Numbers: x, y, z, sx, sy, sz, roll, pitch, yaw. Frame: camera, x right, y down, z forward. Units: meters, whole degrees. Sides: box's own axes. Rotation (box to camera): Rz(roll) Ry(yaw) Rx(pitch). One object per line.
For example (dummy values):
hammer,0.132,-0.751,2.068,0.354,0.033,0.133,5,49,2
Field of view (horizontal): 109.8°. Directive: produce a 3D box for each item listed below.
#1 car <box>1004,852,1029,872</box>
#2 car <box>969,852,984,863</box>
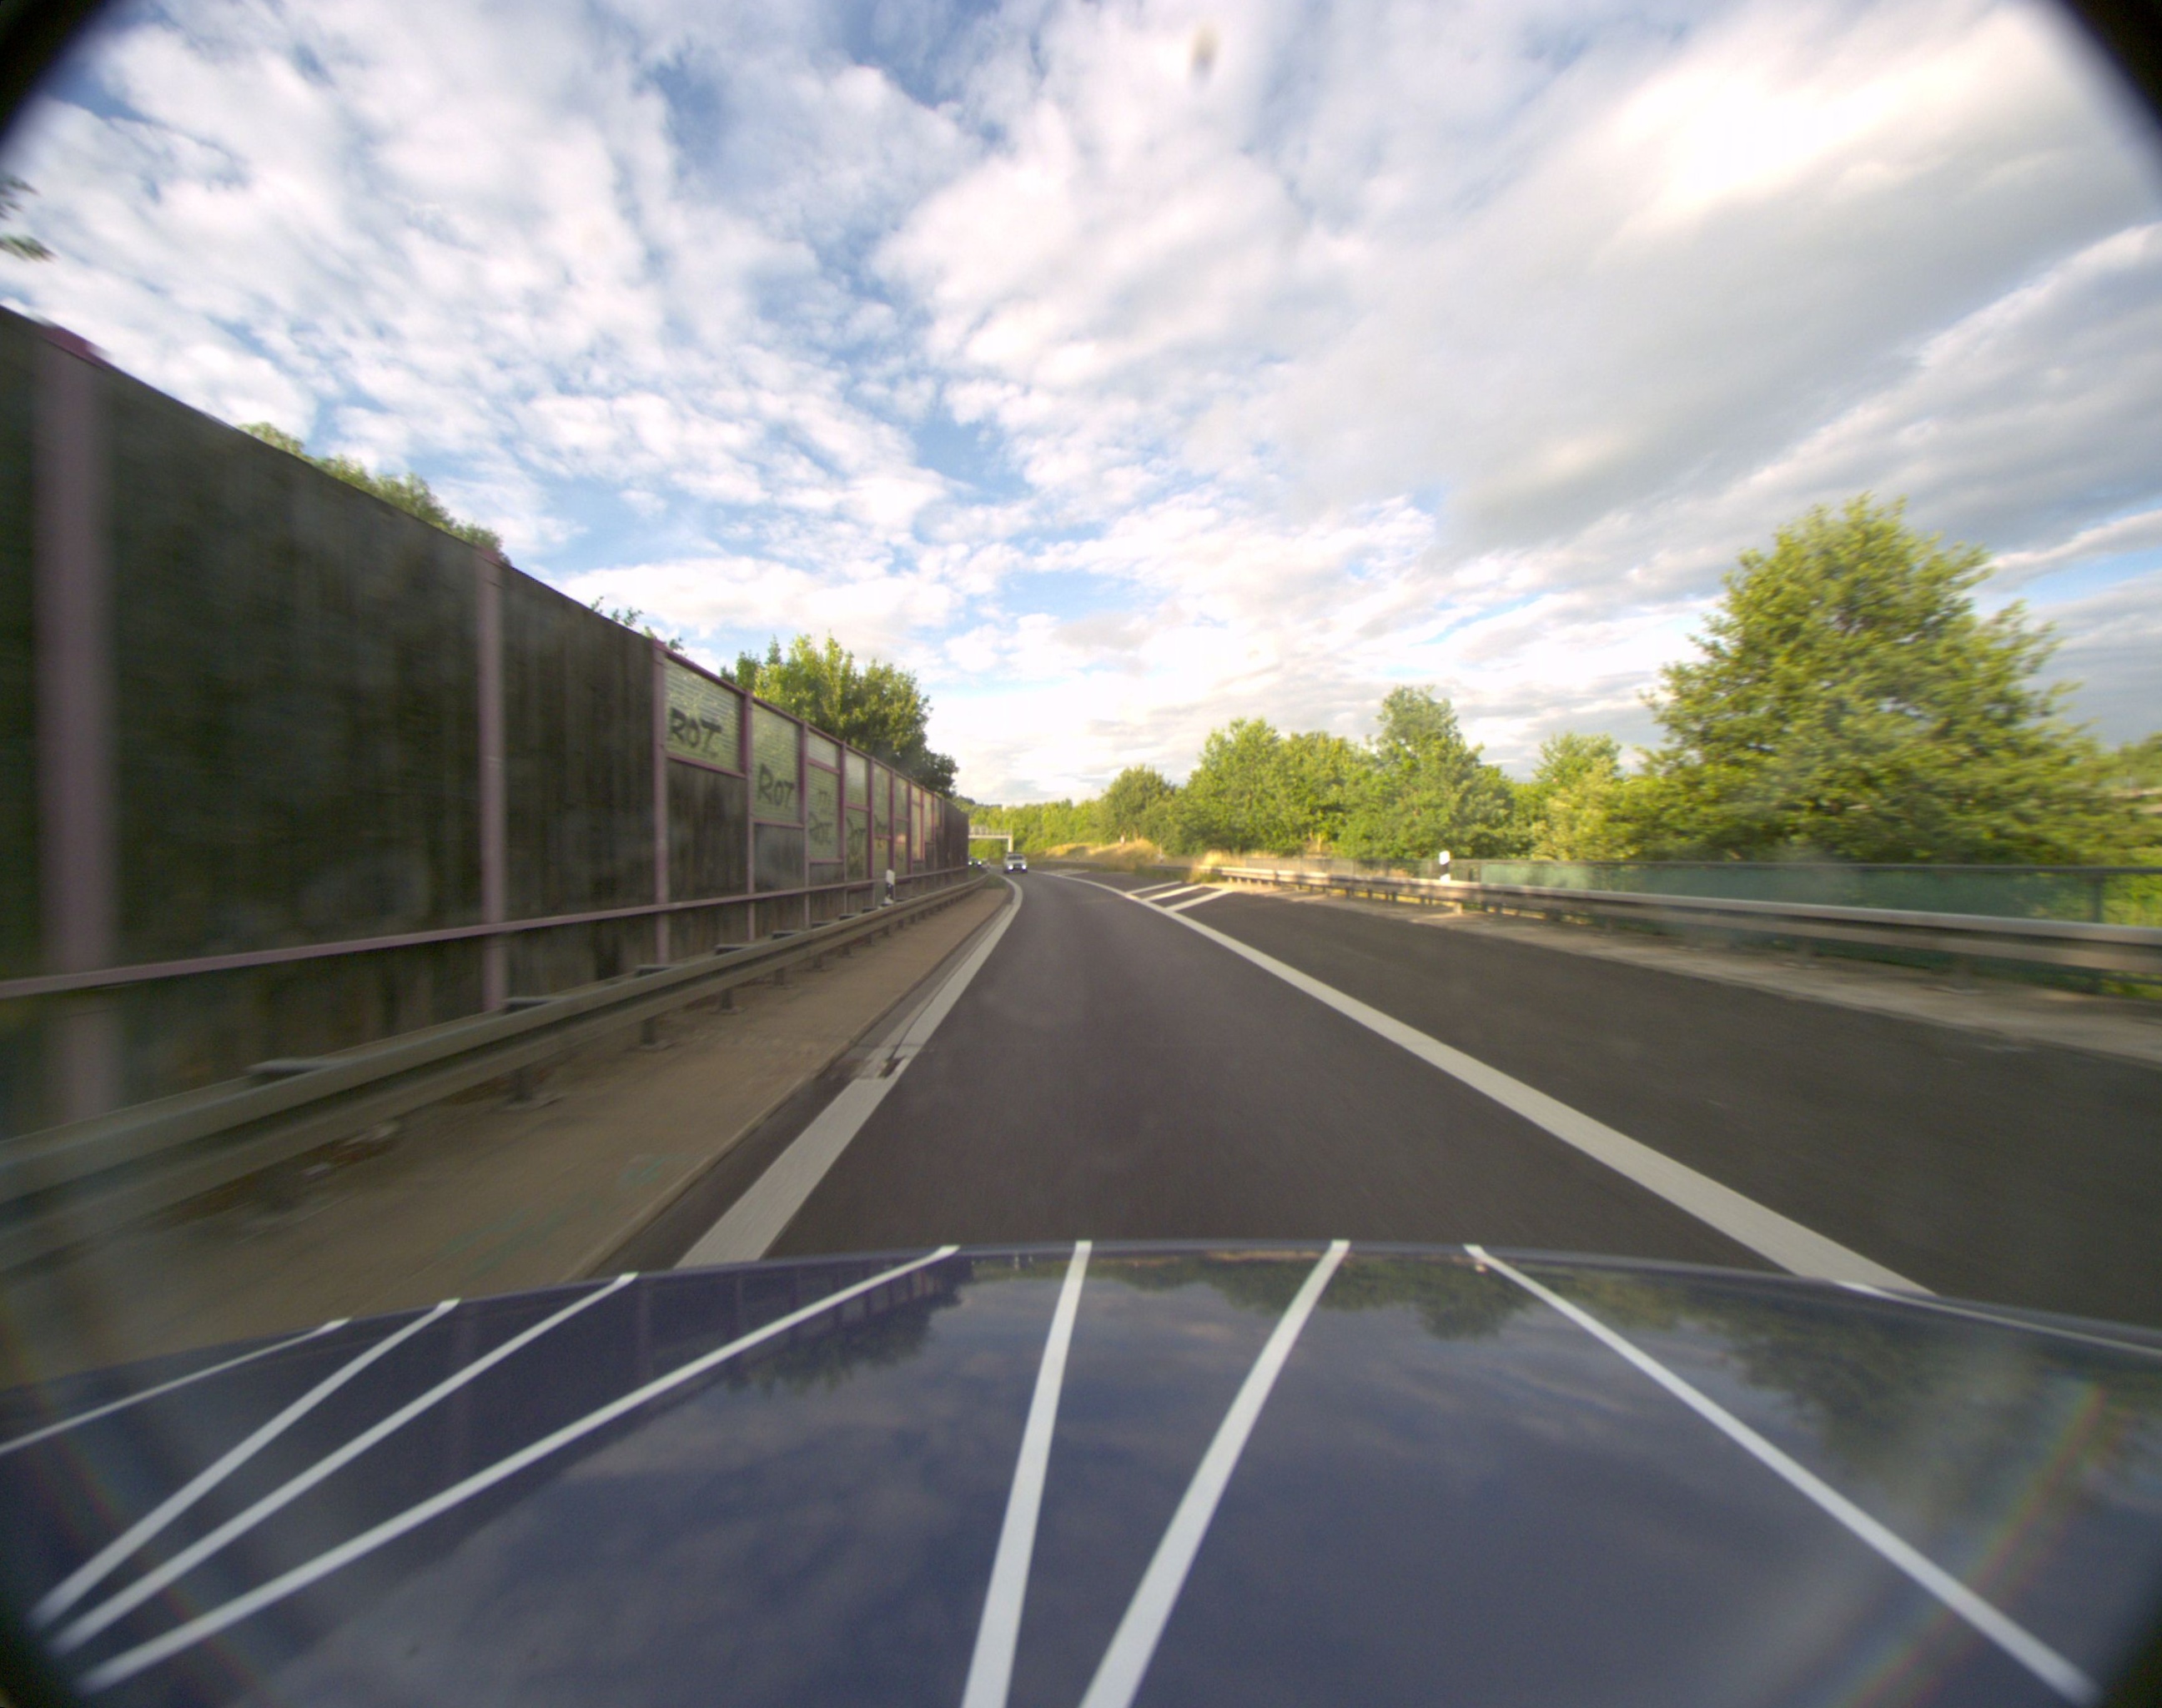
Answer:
car,-5.903,0.700,69.327,1.906,1.655,3.996,-2,0,-10
car,-14.869,0.504,108.064,1.622,1.451,3.658,-3,1,-14
